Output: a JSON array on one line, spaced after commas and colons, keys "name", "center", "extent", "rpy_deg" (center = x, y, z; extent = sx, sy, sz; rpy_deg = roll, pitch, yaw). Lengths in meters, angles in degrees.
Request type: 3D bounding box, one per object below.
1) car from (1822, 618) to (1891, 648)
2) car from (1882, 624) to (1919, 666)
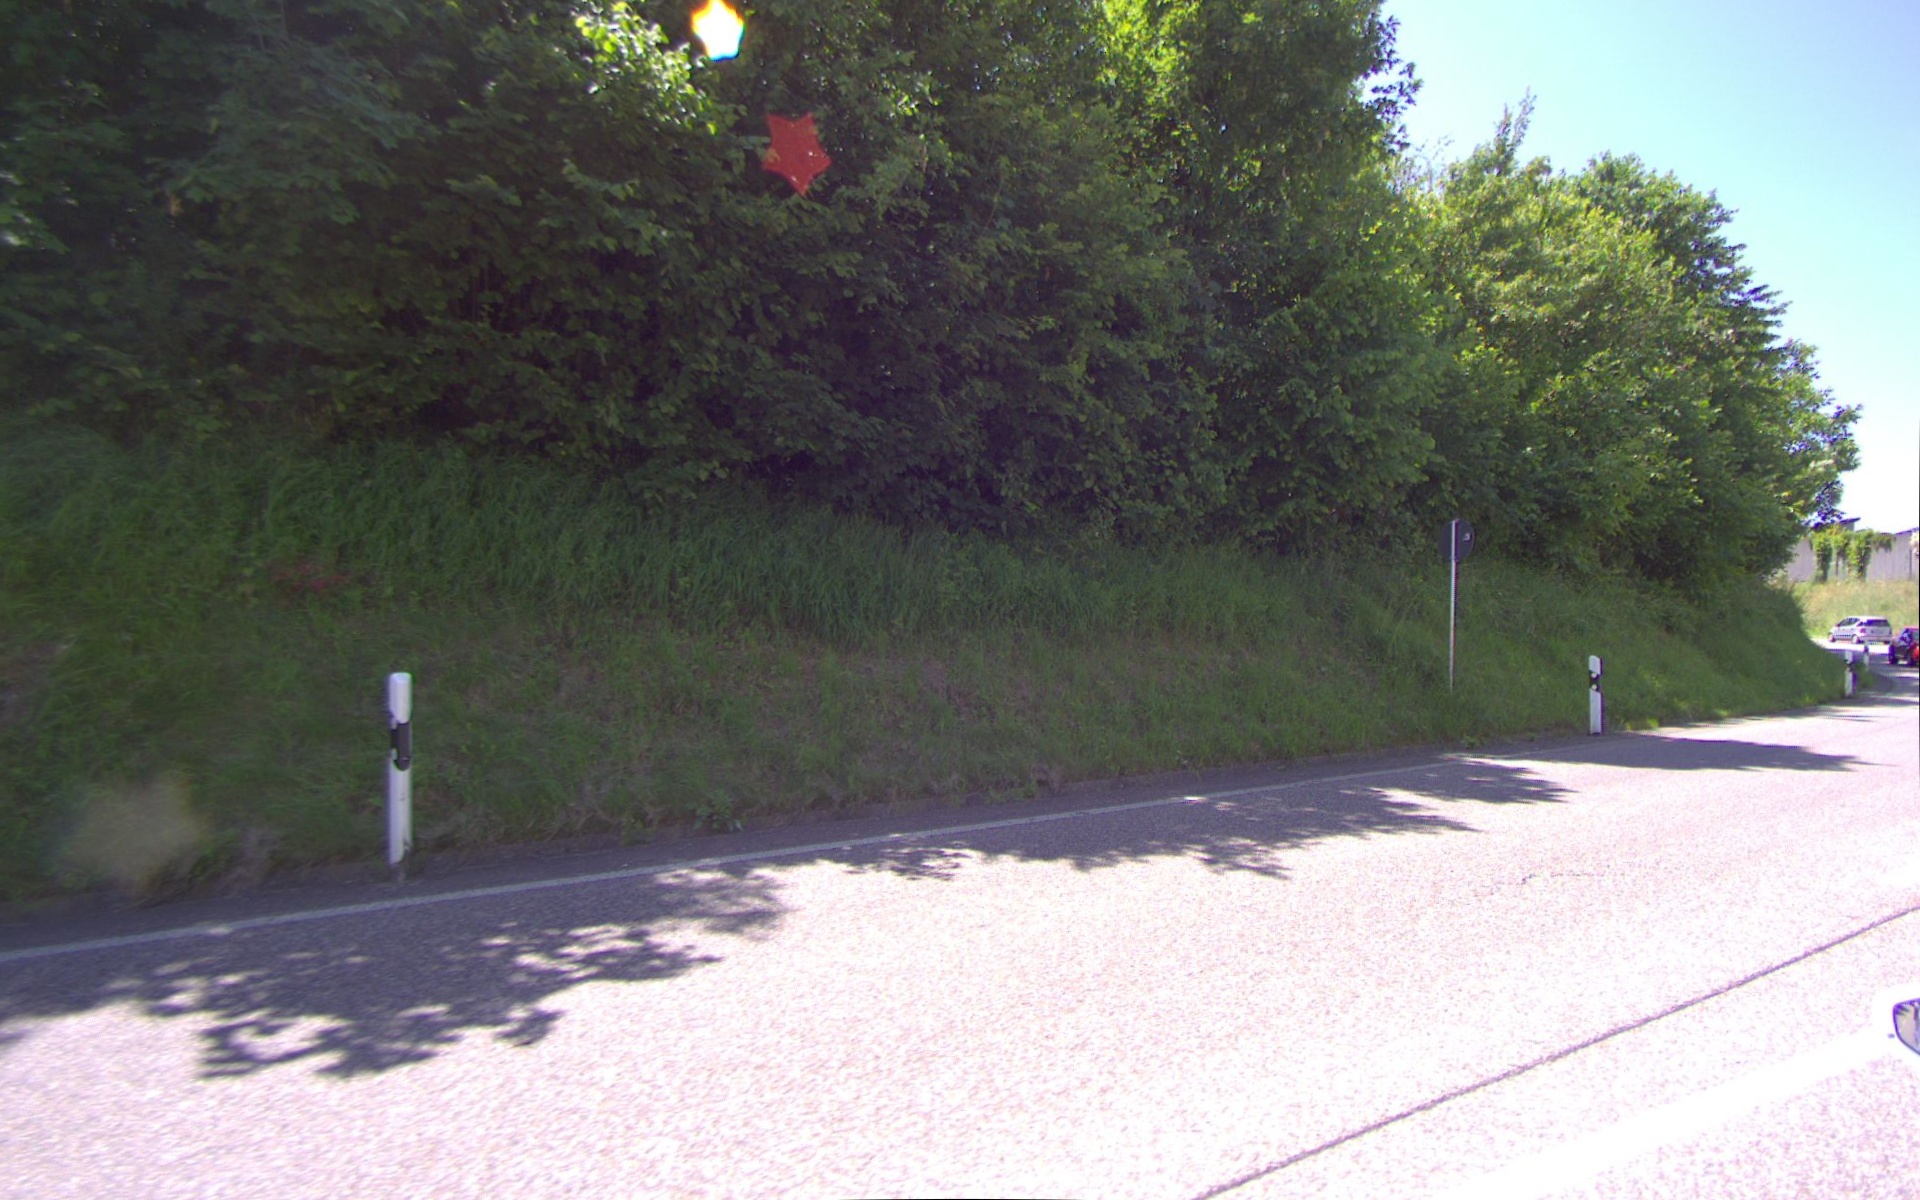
[{"name": "car", "center": [51.164, 1.868, 57.414], "extent": [1.620, 1.529, 3.638], "rpy_deg": [3, 1, 20]}, {"name": "car", "center": [35.279, 1.604, 36.666], "extent": [1.726, 1.467, 3.989], "rpy_deg": [-1, -2, 33]}]
